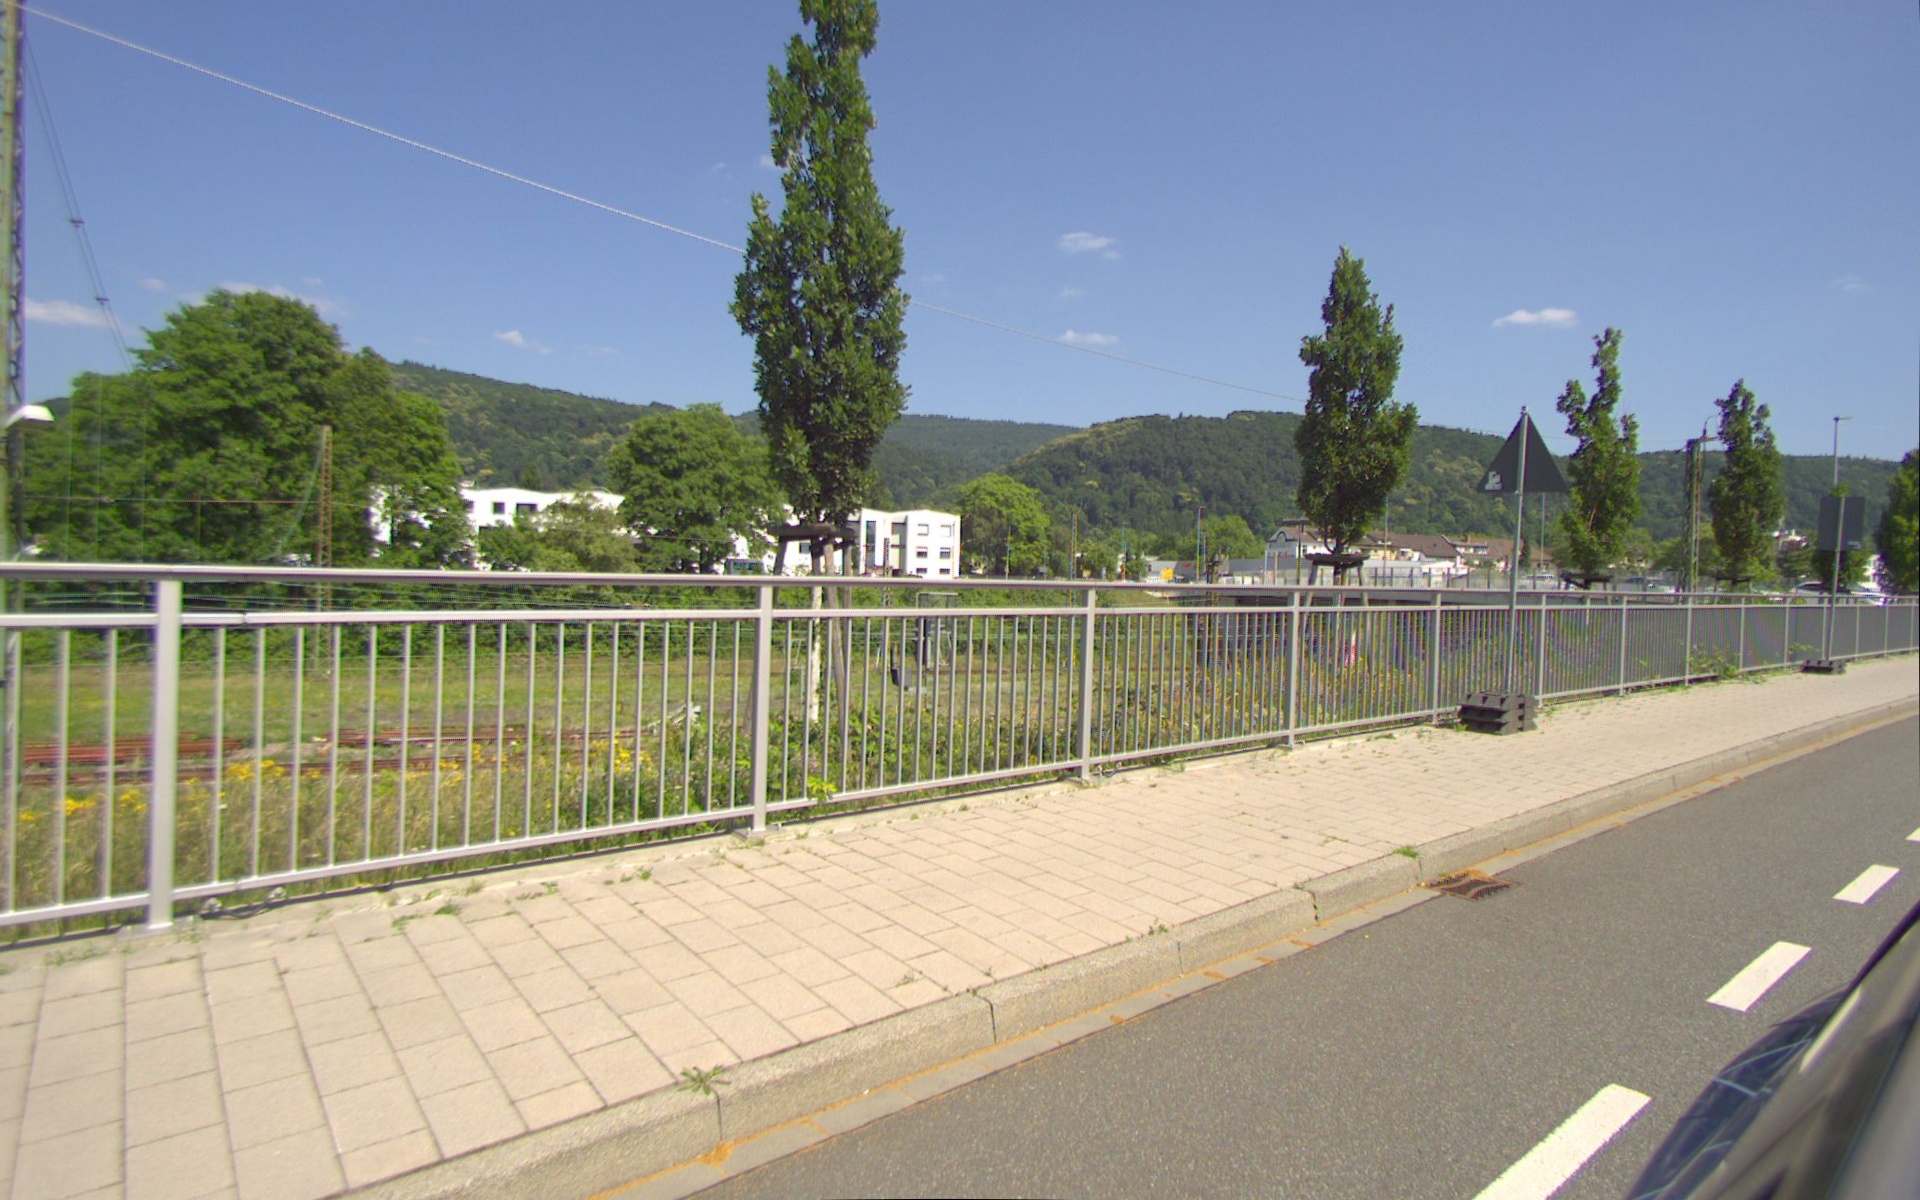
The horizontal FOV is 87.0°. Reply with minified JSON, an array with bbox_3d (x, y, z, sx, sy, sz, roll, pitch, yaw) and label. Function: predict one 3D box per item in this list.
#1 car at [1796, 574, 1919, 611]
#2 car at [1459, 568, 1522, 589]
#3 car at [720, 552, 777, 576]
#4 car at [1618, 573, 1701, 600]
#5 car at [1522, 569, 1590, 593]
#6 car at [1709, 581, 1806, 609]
[{"bbox_3d":[46.039,-0.422,51.817,1.958,1.740,4.644,1,2,-17],"label":"car"},{"bbox_3d":[42.318,-1.718,80.841,1.700,1.646,4.453,1,1,-19],"label":"car"},{"bbox_3d":[-20.132,-3.386,96.563,4.893,2.139,2.002,0,2,-32],"label":"car"},{"bbox_3d":[46.145,-0.897,66.887,1.700,1.646,4.452,1,2,-13],"label":"car"},{"bbox_3d":[43.914,-1.411,74.686,1.700,1.646,4.453,1,2,-14],"label":"car"},{"bbox_3d":[47.419,-0.341,60.313,1.700,1.487,4.420,1,2,-13],"label":"car"}]
